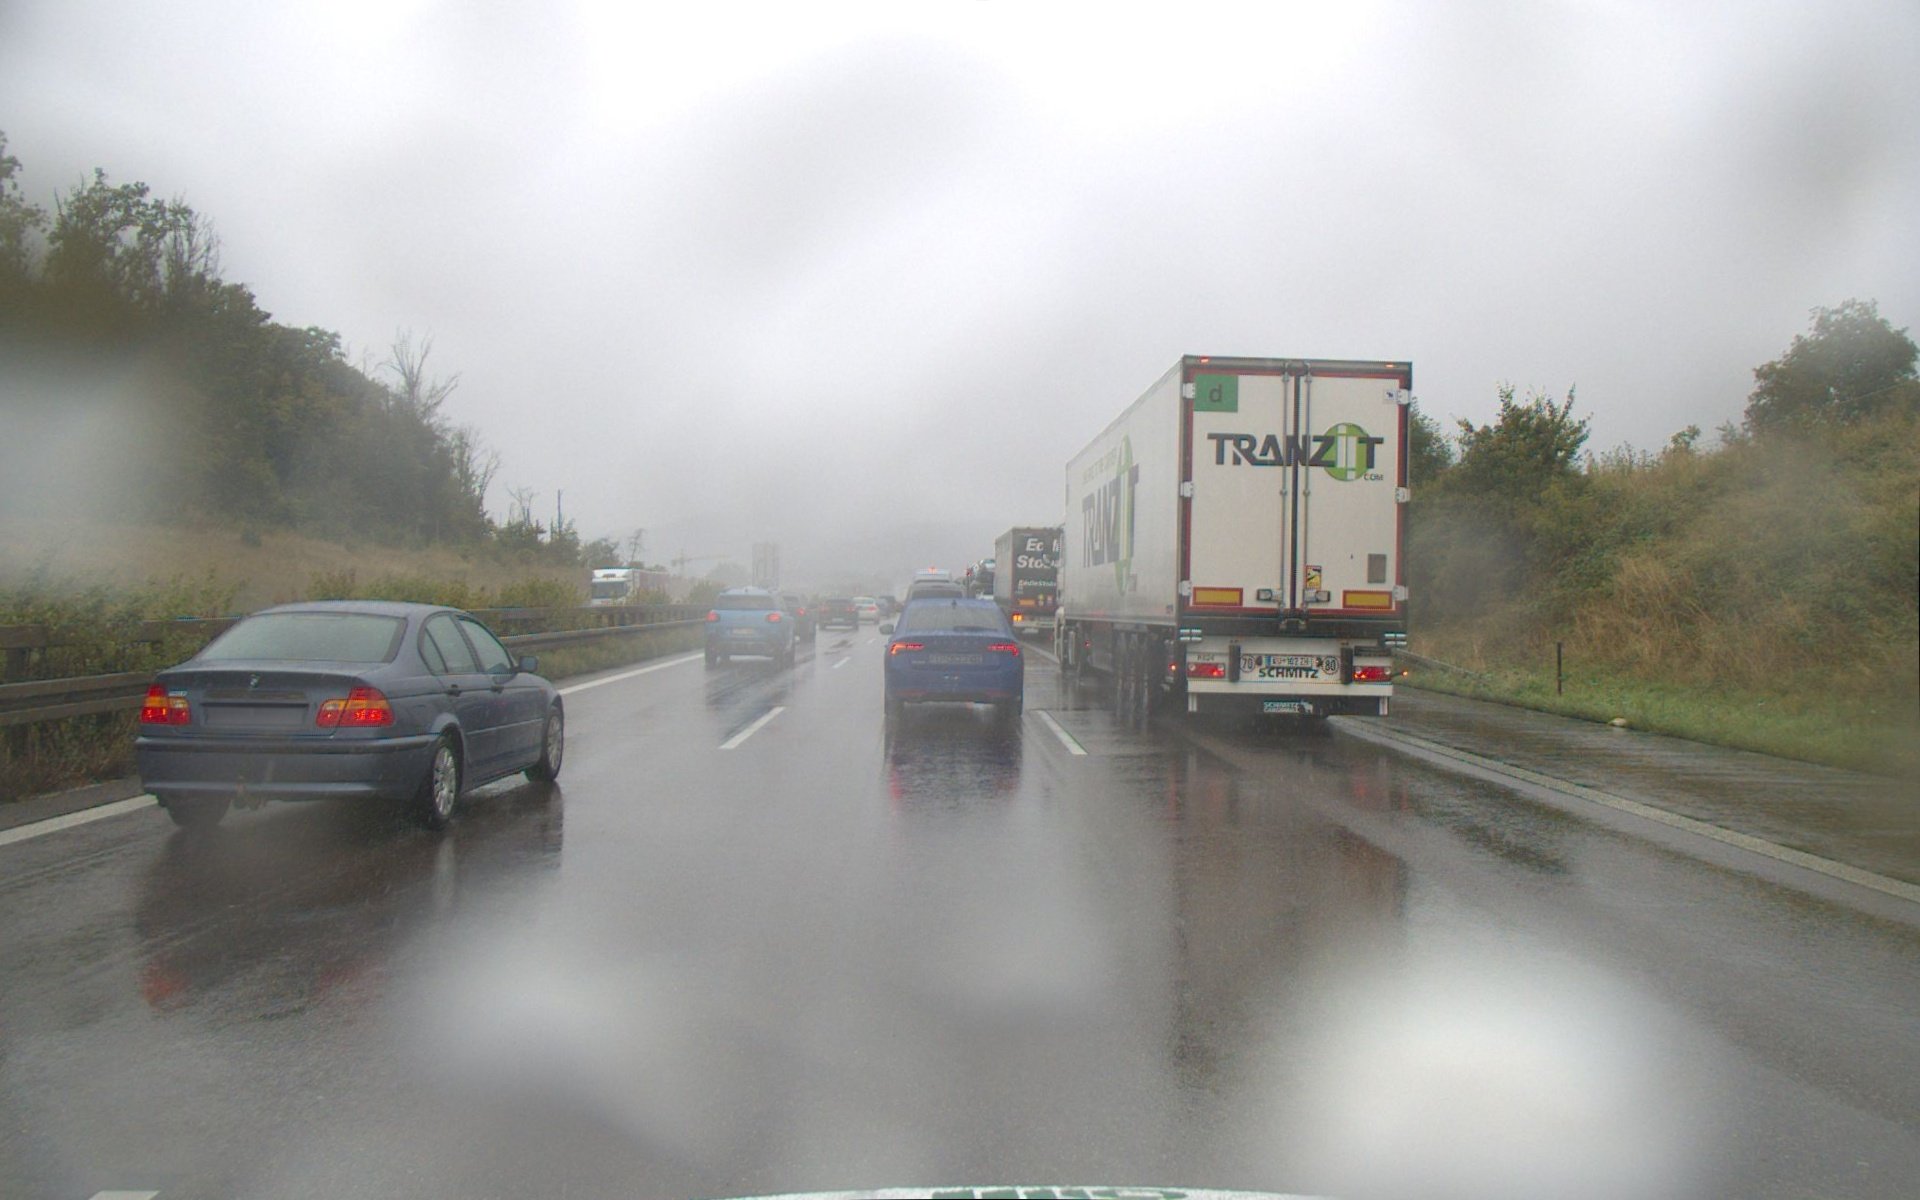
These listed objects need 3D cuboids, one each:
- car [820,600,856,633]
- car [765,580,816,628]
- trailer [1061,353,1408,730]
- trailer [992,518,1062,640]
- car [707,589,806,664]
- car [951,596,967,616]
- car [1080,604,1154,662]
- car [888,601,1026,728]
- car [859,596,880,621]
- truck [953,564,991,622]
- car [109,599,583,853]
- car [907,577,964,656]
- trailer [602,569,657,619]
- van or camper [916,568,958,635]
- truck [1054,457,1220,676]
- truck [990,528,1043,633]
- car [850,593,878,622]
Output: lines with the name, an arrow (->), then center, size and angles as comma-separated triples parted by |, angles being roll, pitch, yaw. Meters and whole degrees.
car -> -5.435, 0.723, 74.081 | 1.410, 1.445, 3.321 | 0, 0, -1
car -> -5.313, 0.120, 52.059 | 1.331, 1.456, 3.363 | 0, 0, -1
trailer -> 3.437, -0.673, 25.330 | 2.577, 4.083, 14.626 | 0, 0, -1
trailer -> 2.460, -0.769, 63.735 | 2.005, 4.250, 11.445 | 0, 0, -1
car -> -4.421, 0.553, 36.421 | 1.686, 1.550, 4.000 | 0, 0, 0
car -> -0.102, 0.568, 151.570 | 1.419, 1.815, 3.408 | 1, 0, -1
car -> 3.771, 0.773, 40.088 | 1.395, 1.310, 3.460 | 0, 0, -1
car -> -0.048, 0.757, 21.406 | 1.602, 1.470, 3.999 | 0, 0, 0
car -> -6.706, 0.661, 123.194 | 1.419, 1.815, 3.408 | 1, 0, -1
truck -> 0.728, -0.482, 103.590 | 1.953, 3.481, 8.028 | 0, 1, -2
car -> -3.958, 0.713, 11.481 | 1.683, 1.424, 4.230 | 0, 0, 0
car -> -0.605, 0.376, 40.048 | 1.309, 1.811, 3.321 | 0, 0, -1
trailer -> -21.857, -0.402, 109.782 | 1.953, 3.136, 9.552 | 1, 0, -1
van or camper -> -1.044, 0.050, 73.003 | 1.761, 2.855, 4.766 | 0, 0, -1
truck -> 3.301, -0.604, 31.966 | 2.577, 3.894, 4.790 | 0, 0, -1
truck -> 2.354, -0.809, 69.669 | 2.005, 4.266, 3.999 | 0, 0, -1
car -> -5.283, 0.422, 91.658 | 1.410, 1.560, 3.321 | 0, 0, -1
